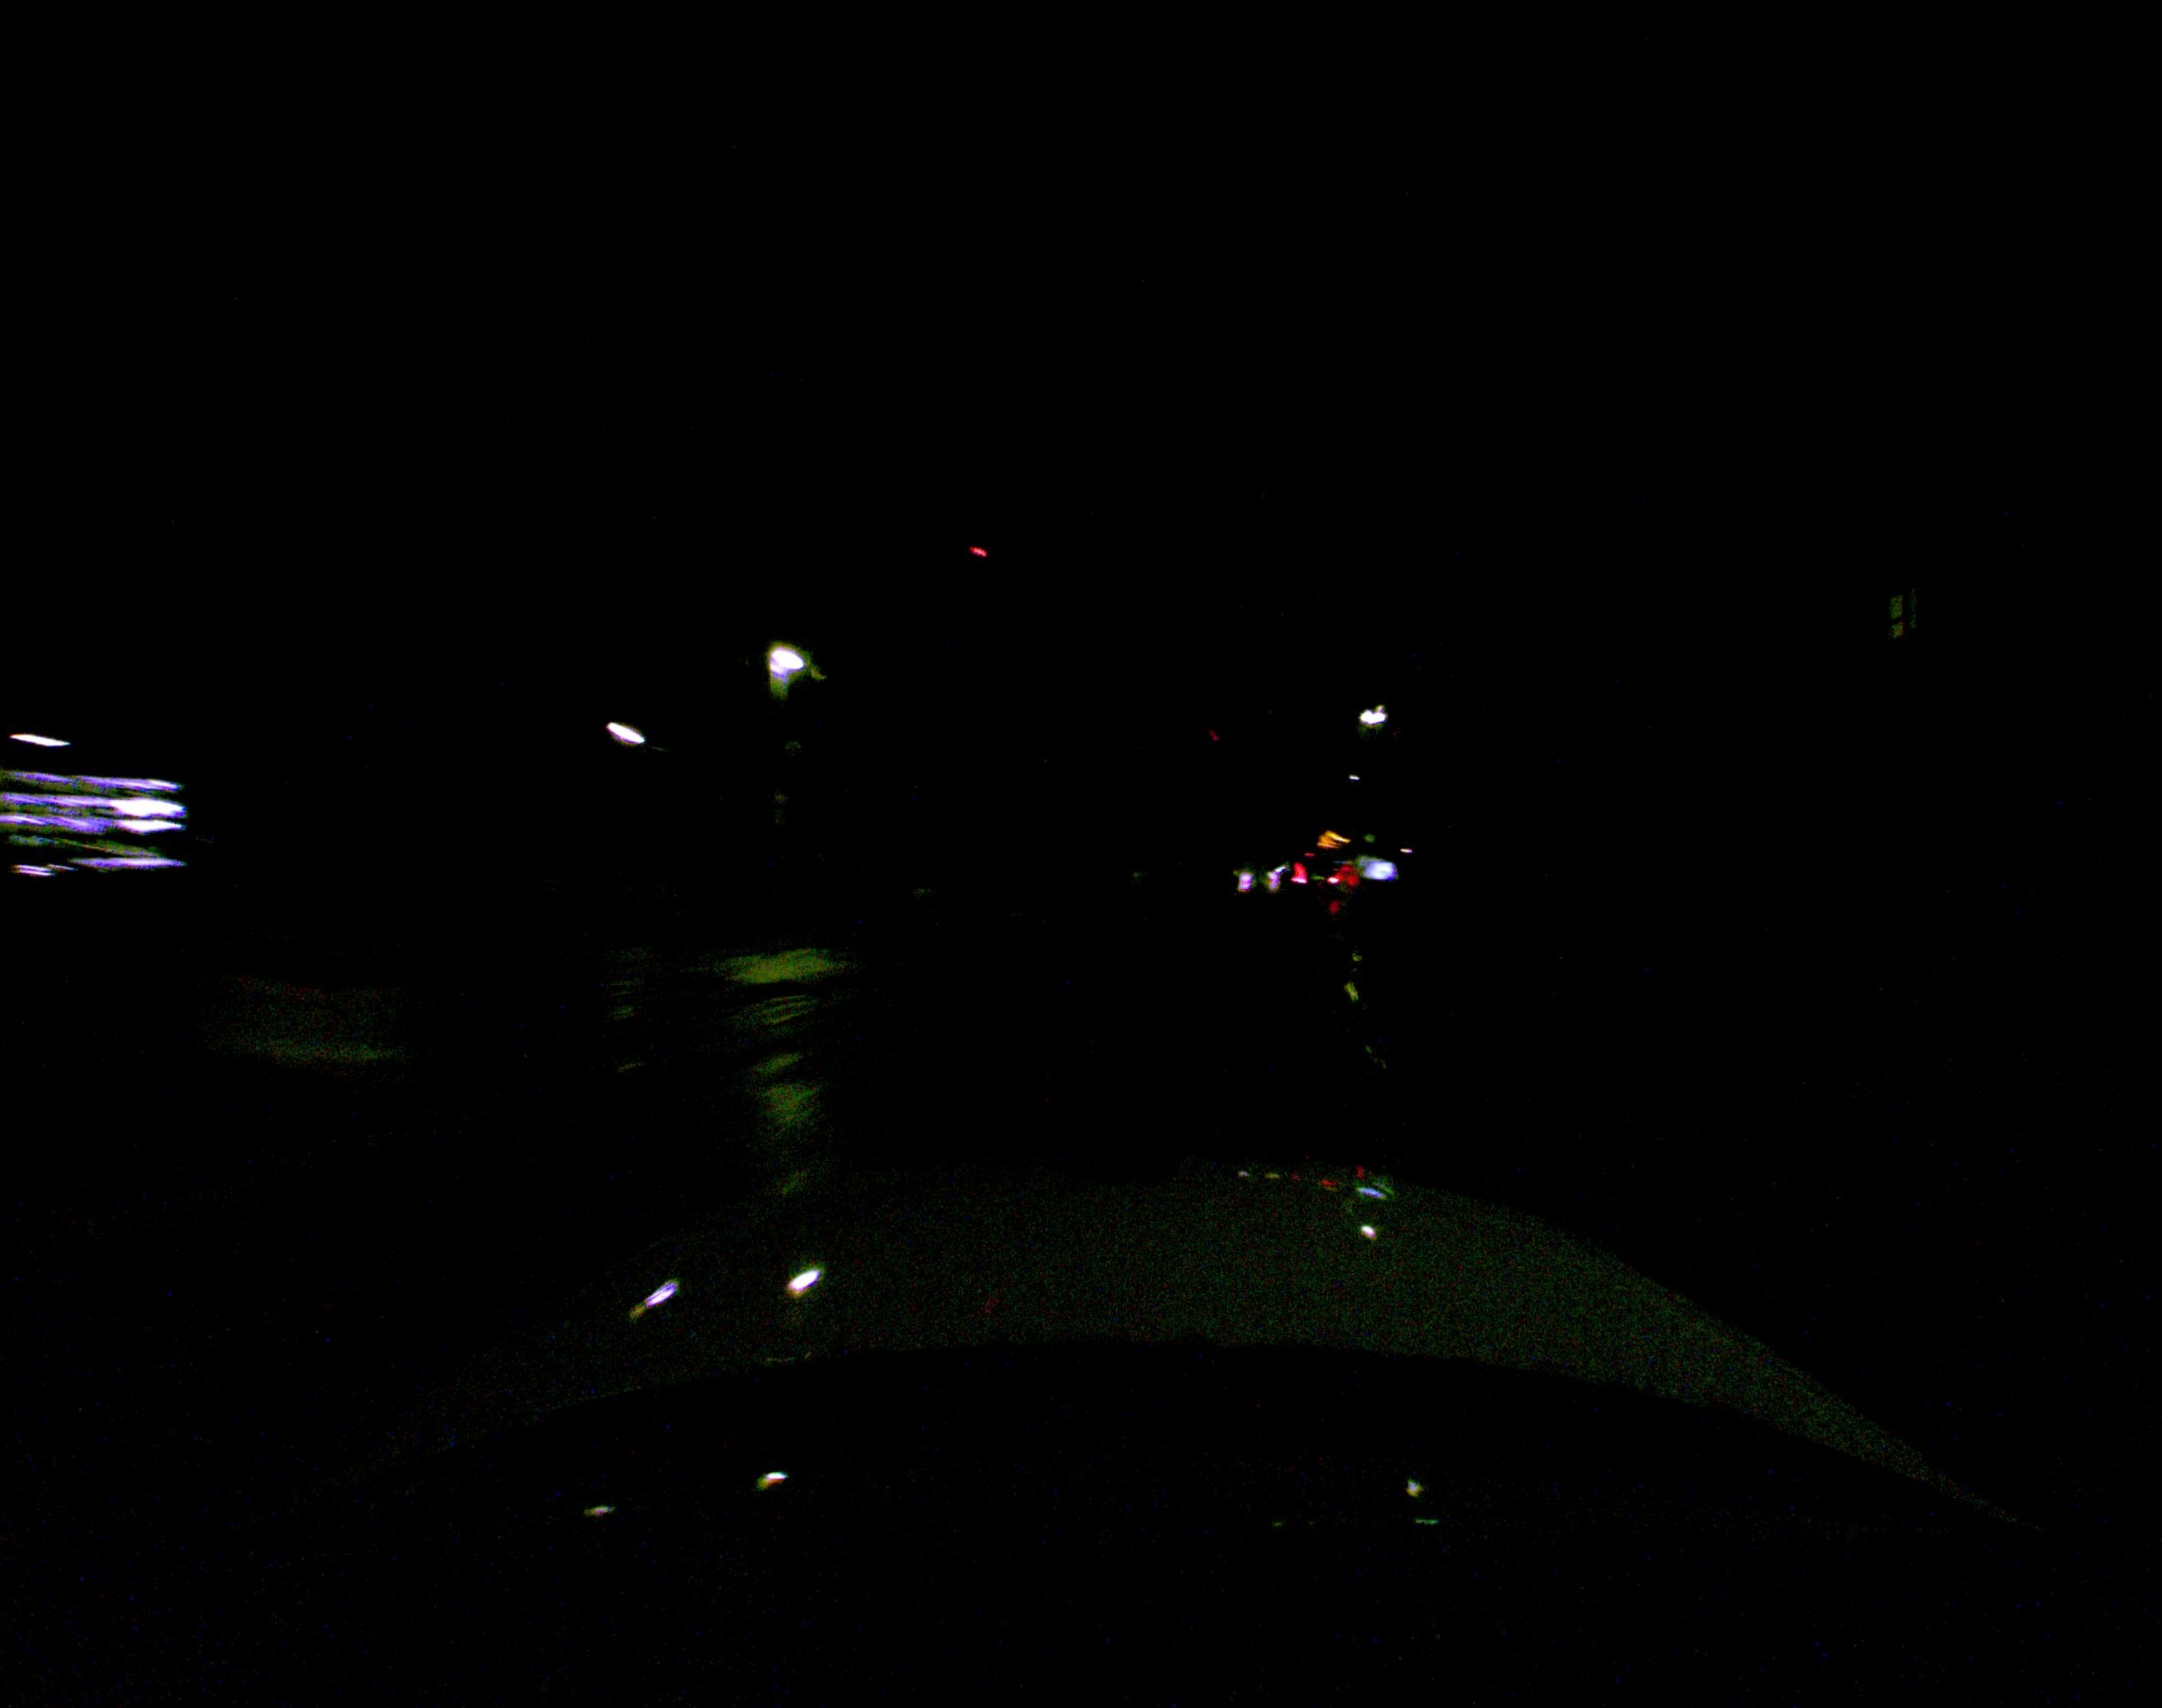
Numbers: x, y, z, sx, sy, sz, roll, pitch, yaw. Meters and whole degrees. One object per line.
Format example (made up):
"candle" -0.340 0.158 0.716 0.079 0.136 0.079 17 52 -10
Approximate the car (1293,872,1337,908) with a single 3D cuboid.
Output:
"car" 12.106 1.807 41.993 1.978 1.684 4.018 2 -1 18

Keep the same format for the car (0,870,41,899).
"car" -60.898 1.673 44.731 1.974 1.622 4.459 -1 -3 34

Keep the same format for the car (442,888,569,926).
"car" -22.751 2.064 32.301 1.517 1.335 3.843 -1 -2 43

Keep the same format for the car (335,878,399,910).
"car" -43.886 2.440 50.025 3.754 1.838 2.012 -2 -3 34
